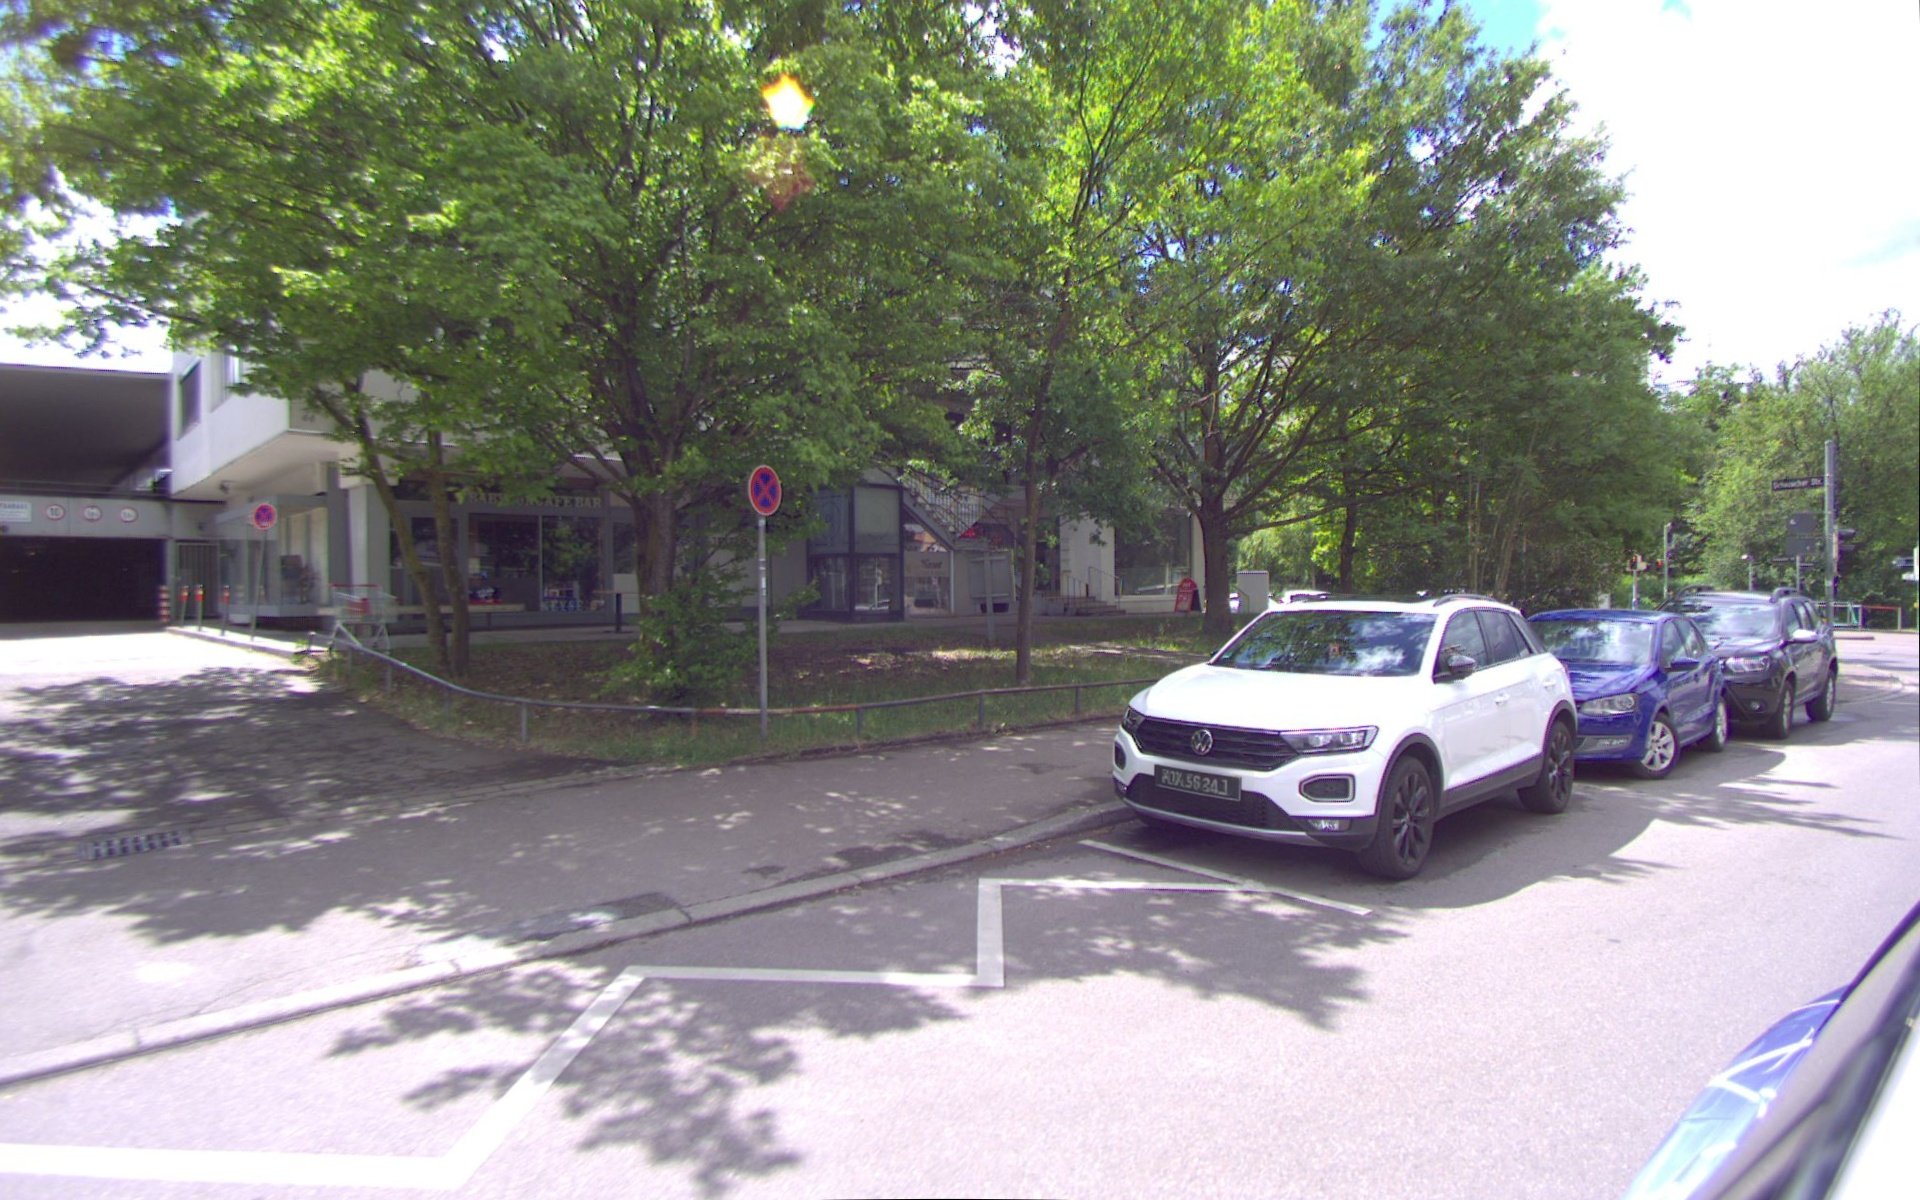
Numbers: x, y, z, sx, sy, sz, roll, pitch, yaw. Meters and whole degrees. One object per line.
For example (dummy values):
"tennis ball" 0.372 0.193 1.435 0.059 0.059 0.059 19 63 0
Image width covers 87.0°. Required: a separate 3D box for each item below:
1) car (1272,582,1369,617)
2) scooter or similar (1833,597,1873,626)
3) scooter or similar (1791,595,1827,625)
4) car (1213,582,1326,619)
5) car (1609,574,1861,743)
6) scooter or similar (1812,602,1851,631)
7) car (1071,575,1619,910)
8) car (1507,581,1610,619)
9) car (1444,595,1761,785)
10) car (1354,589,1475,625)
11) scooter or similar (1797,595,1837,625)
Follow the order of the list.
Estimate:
"car" 16.493 -0.066 46.433 3.887 1.430 1.583 2 4 45
"scooter or similar" 38.246 0.497 43.344 0.440 1.210 1.172 1 1 -32
"scooter or similar" 36.835 0.433 43.897 1.181 1.250 0.472 2 1 42
"car" 13.615 -0.026 44.704 4.391 1.432 1.921 2 4 45
"car" 9.928 0.622 12.825 4.489 1.784 1.647 1 1 -41
"scooter or similar" 40.687 0.765 47.272 1.195 1.310 0.531 -2 -5 20
"car" 2.923 0.680 7.042 4.493 1.585 1.785 1 1 -44
"car" 26.547 -0.022 44.907 3.772 1.557 1.660 2 1 37
"car" 6.491 0.730 10.046 4.006 1.476 1.646 1 1 -42
"car" 17.972 0.239 40.129 1.882 1.240 3.963 -3 4 -43
"scooter or similar" 36.331 0.415 42.912 1.199 1.250 0.475 2 0 26
